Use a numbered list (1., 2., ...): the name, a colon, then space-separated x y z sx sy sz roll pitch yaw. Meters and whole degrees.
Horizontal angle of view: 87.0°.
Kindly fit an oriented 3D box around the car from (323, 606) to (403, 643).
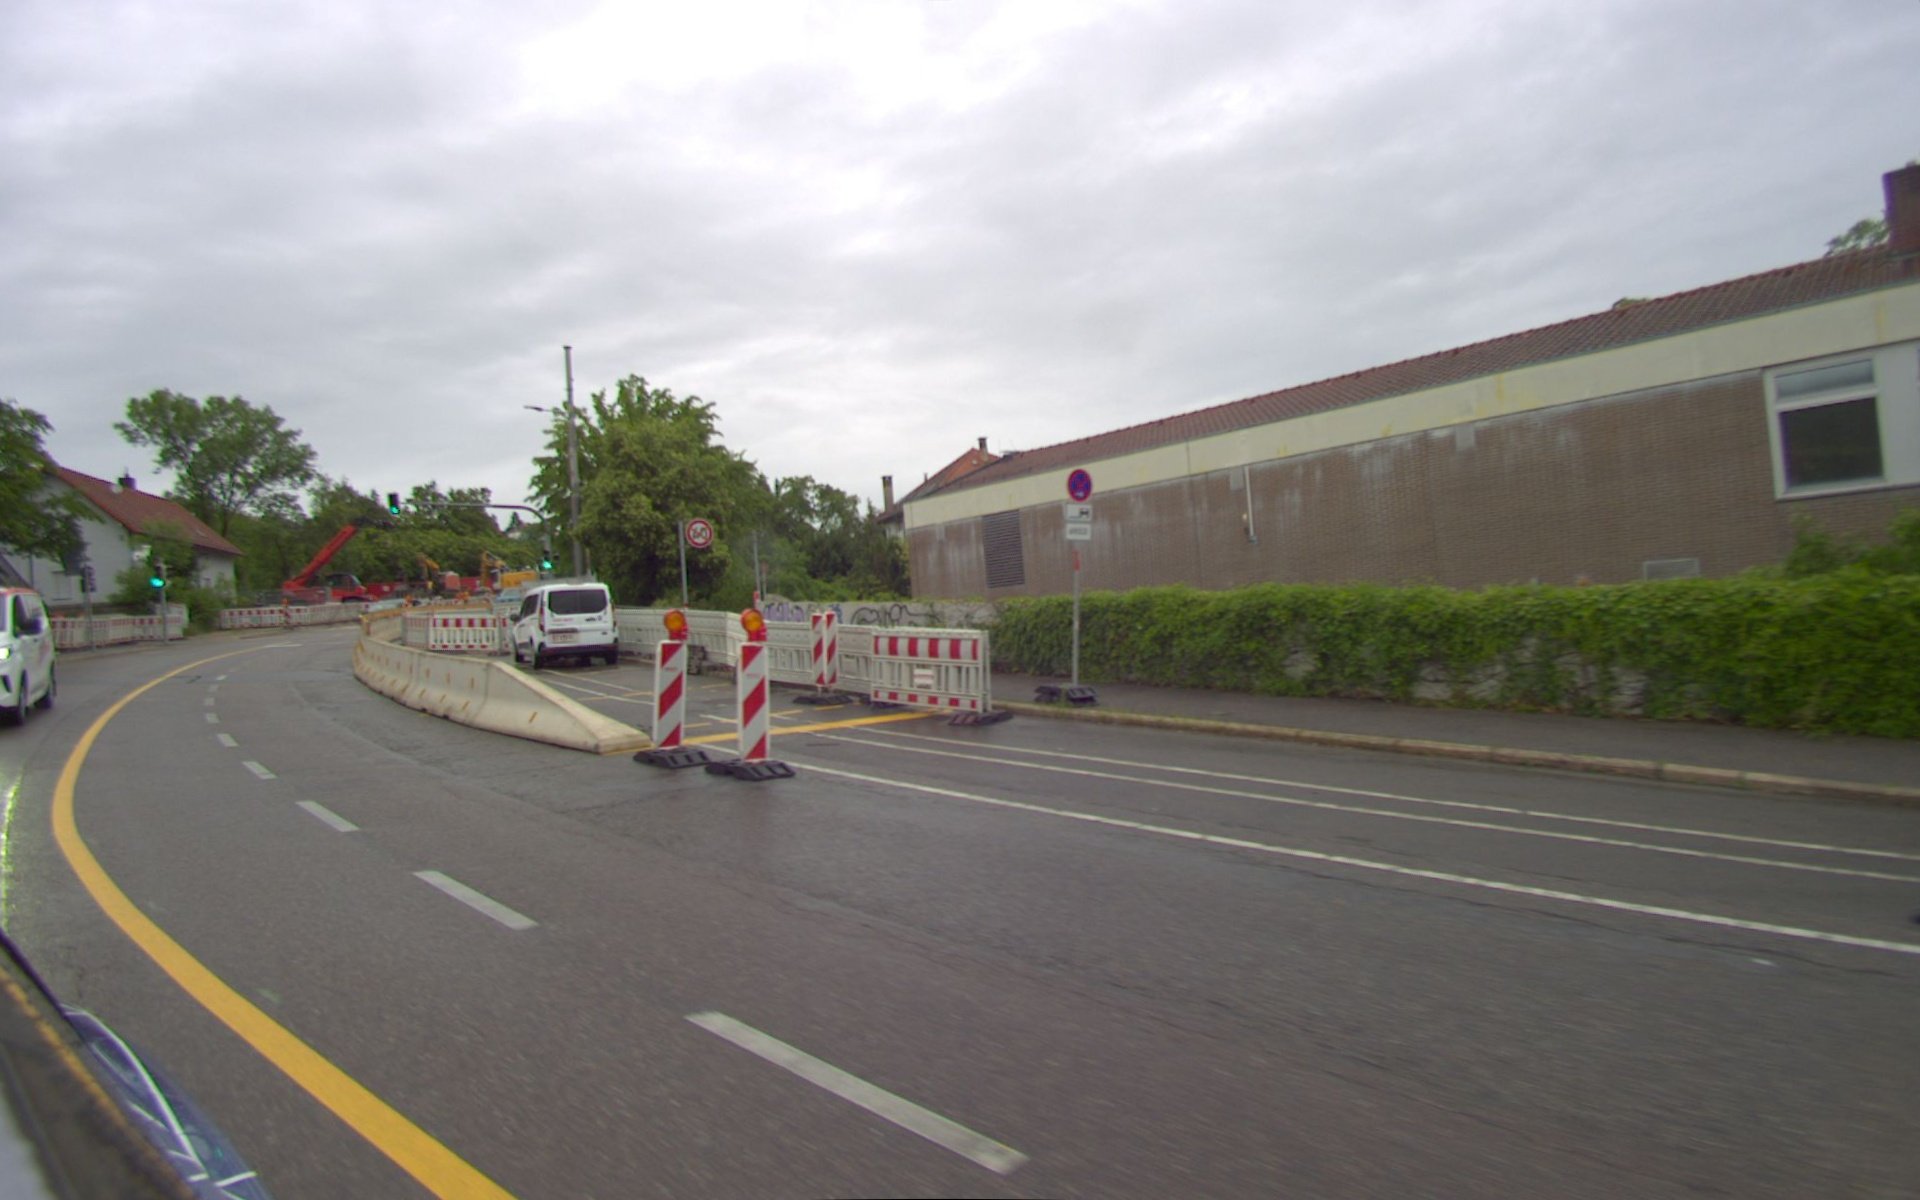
1. car: -26.900 1.073 45.758 1.956 1.447 4.528 -2 1 -15

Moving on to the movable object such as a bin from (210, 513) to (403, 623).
1. movable object such as a bin: -42.029 -1.997 65.759 8.902 6.601 7.059 -1 0 -17

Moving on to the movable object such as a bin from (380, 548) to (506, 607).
1. movable object such as a bin: -49.297 -2.072 97.294 5.183 5.237 13.531 -1 0 0

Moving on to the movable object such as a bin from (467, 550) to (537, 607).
1. movable object such as a bin: -42.775 -1.884 94.299 3.273 5.040 9.868 -1 0 -41

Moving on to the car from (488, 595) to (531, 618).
1. car: -31.105 0.405 69.977 1.957 1.470 4.527 -1 1 -14

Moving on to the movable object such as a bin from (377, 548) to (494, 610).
1. movable object such as a bin: -44.564 -1.797 86.204 8.198 5.092 3.329 -1 0 -6

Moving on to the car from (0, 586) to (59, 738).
1. car: -14.428 0.845 14.351 2.010 1.954 4.526 0 -1 -36

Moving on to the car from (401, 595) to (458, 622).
1. car: -31.389 0.460 60.051 1.957 1.470 4.527 -1 1 -14

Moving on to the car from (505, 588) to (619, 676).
1. car: -9.361 0.703 23.590 1.780 1.814 4.476 -1 0 -31
